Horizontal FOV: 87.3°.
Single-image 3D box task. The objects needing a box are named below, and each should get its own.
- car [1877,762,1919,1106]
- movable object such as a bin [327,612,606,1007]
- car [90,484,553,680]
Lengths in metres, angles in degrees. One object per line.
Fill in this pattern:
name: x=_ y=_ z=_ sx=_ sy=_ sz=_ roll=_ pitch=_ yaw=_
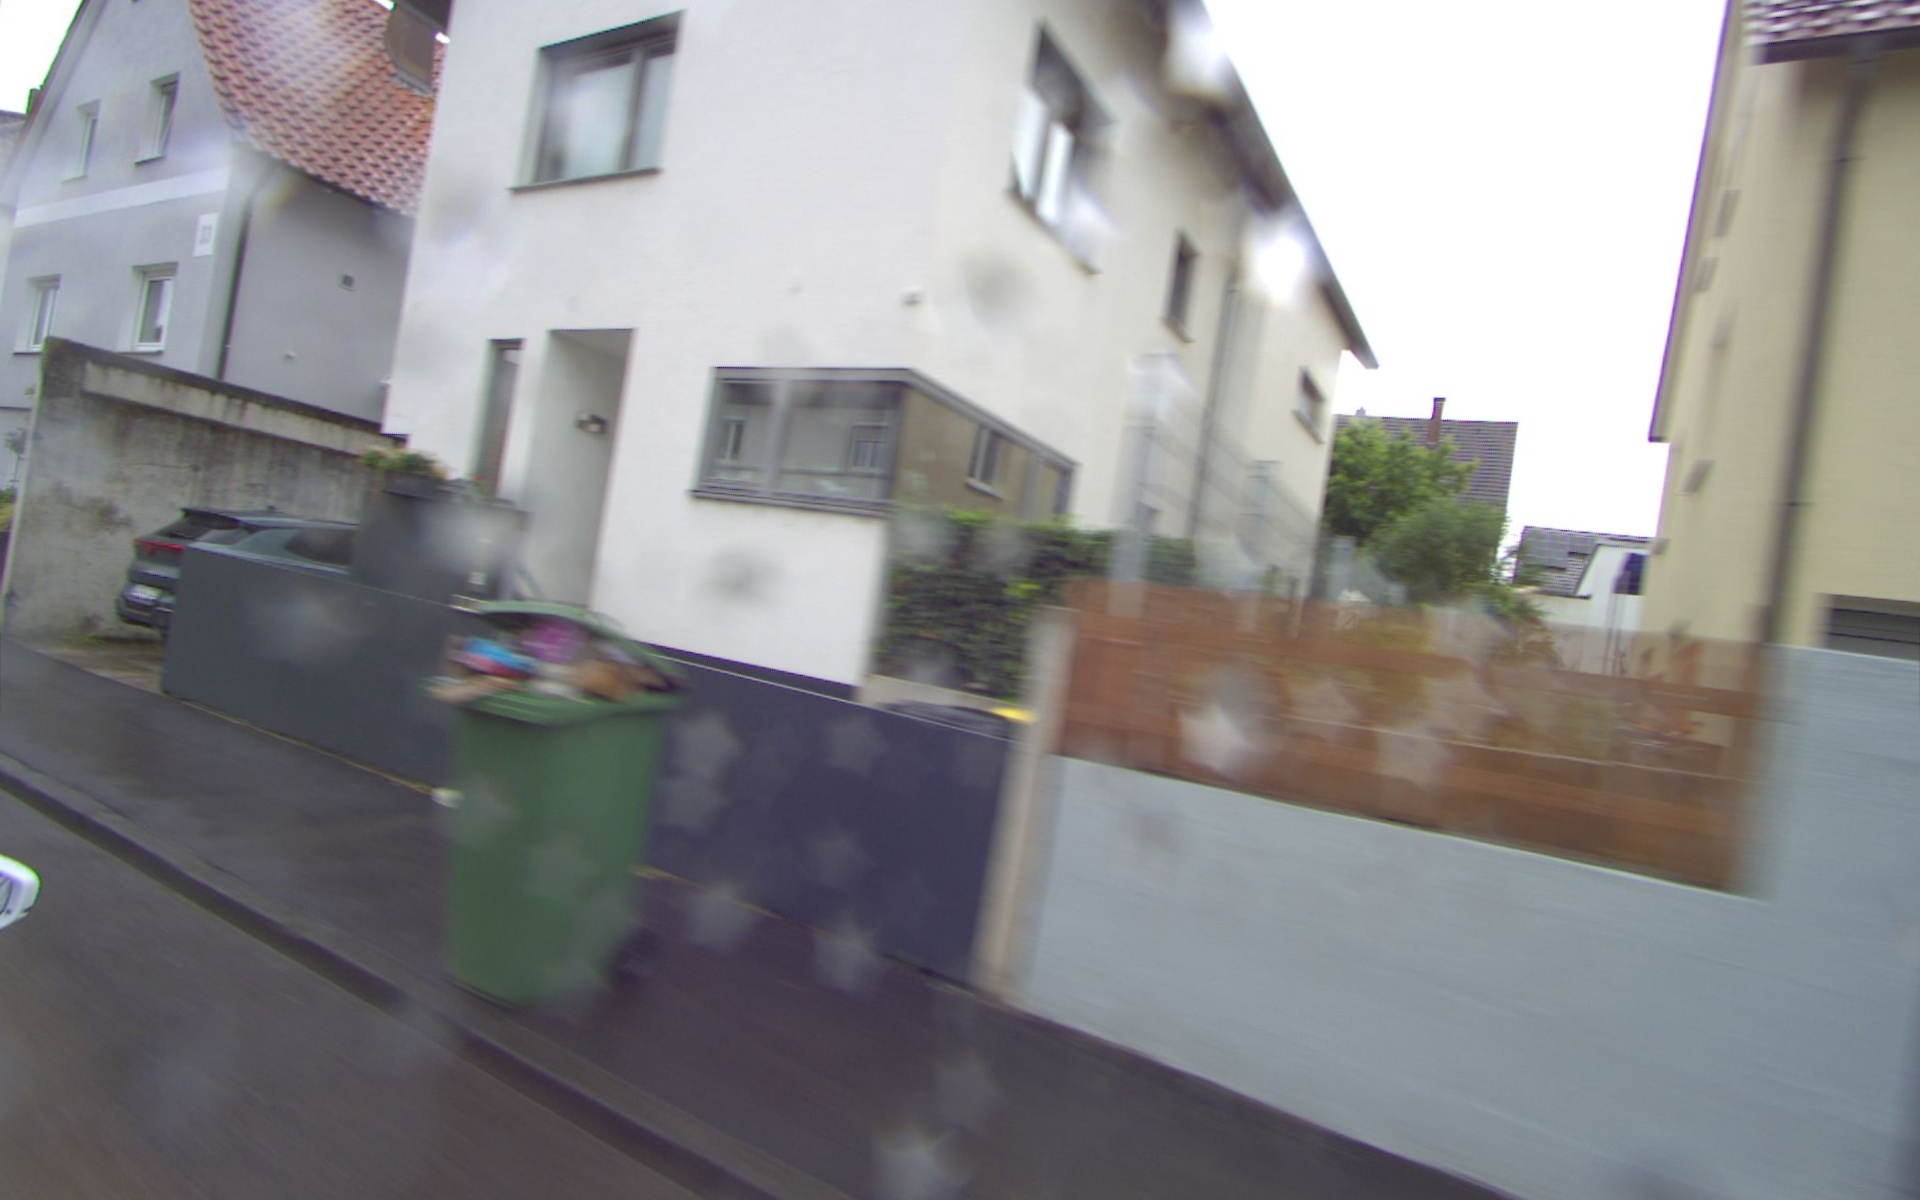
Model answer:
car: x=4.453 y=1.355 z=3.318 sx=1.607 sy=1.541 sz=3.074 roll=9 pitch=-2 yaw=37
movable object such as a bin: x=-1.732 y=0.689 z=3.562 sx=0.528 sy=1.200 sz=0.569 roll=7 pitch=0 yaw=30
car: x=-6.450 y=-0.073 z=10.576 sx=1.788 sy=1.602 sz=3.594 roll=6 pitch=-1 yaw=29
